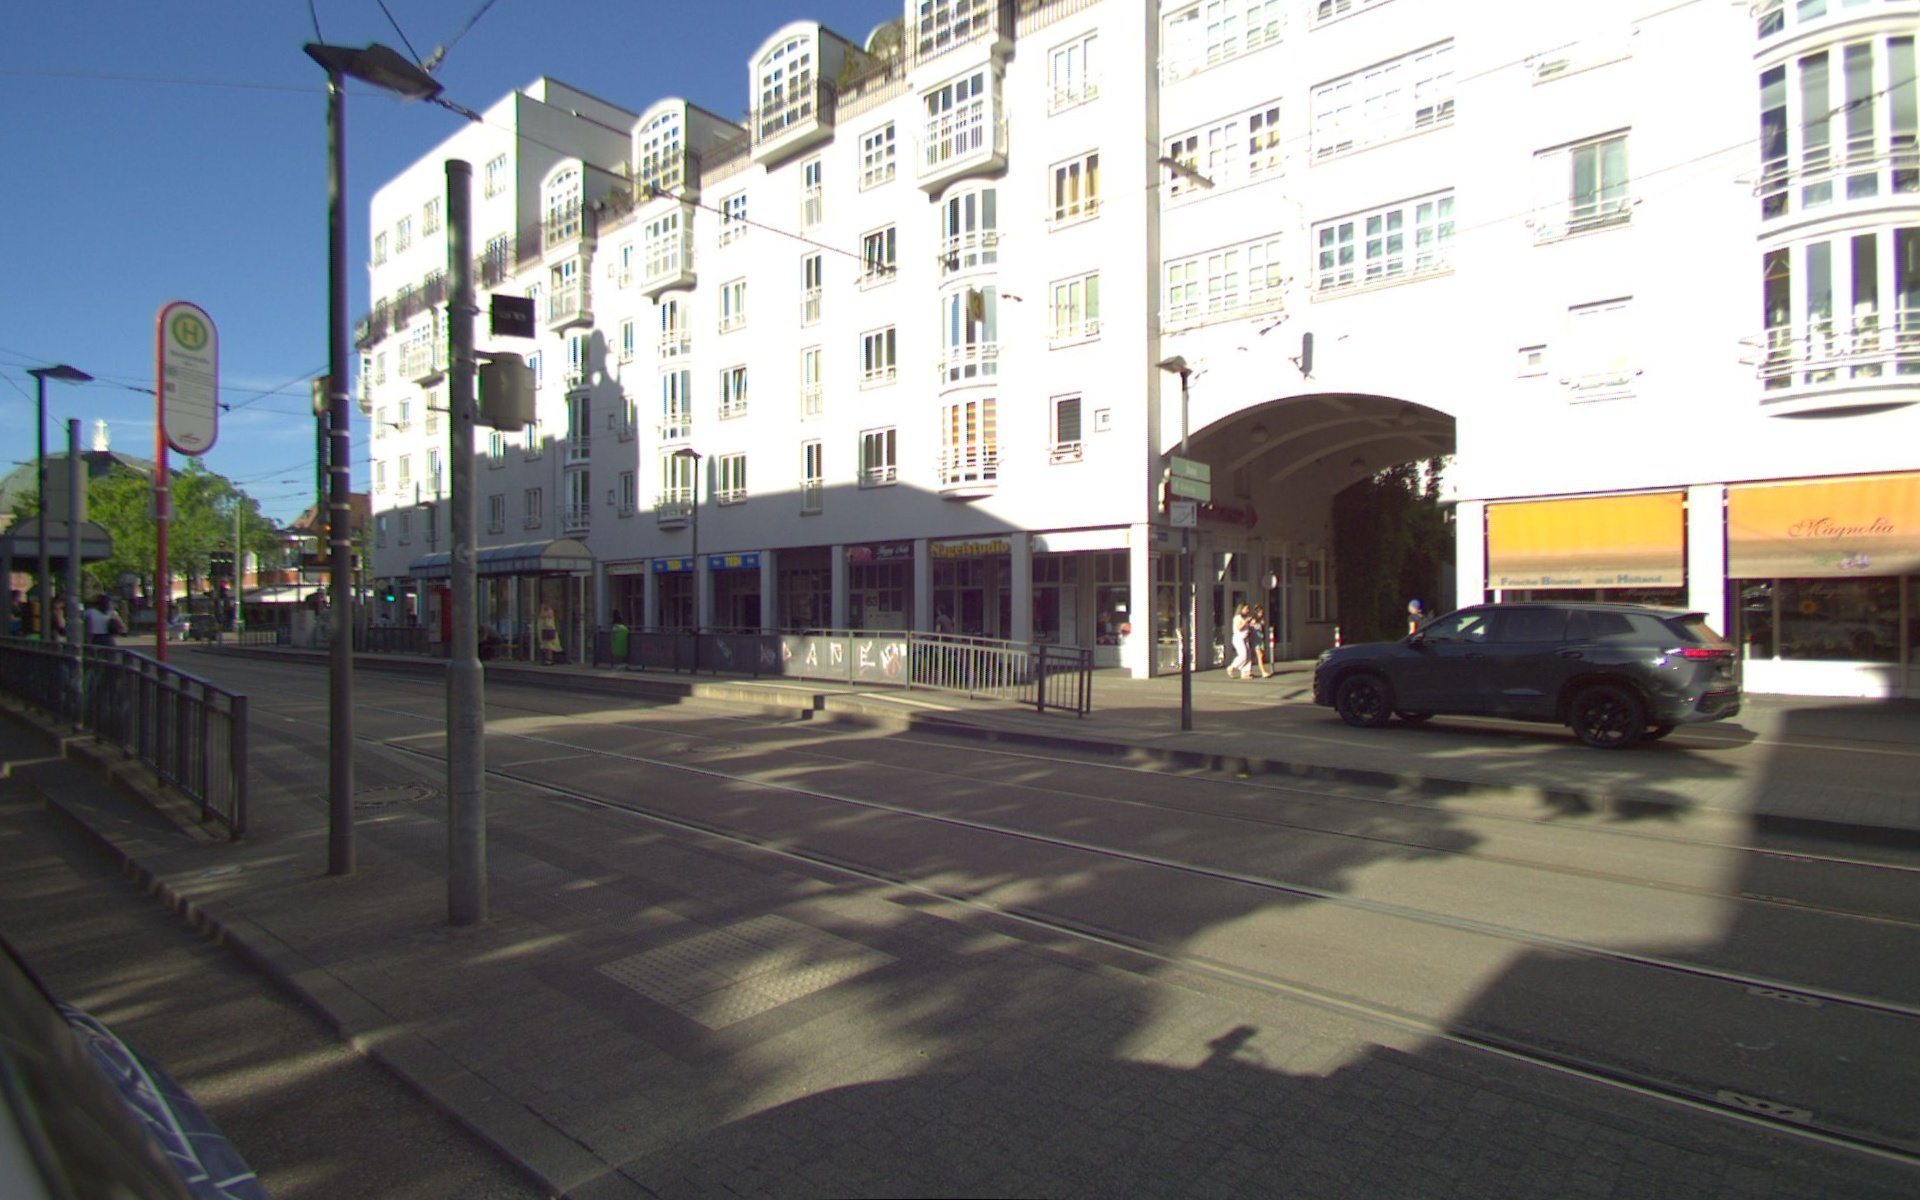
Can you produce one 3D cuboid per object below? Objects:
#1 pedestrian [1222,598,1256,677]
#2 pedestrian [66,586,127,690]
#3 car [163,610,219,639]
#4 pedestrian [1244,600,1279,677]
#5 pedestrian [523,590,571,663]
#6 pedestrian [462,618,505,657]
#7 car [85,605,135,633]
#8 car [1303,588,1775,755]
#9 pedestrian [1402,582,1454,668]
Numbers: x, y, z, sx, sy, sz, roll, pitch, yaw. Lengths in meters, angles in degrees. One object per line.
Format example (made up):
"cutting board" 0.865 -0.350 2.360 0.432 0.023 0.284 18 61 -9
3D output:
"pedestrian" 6.010 0.795 21.799 0.522 1.657 0.556 -1 -1 41
"pedestrian" -14.088 0.613 16.510 0.400 1.657 0.707 -1 -1 43
"car" -46.043 1.469 60.574 3.998 1.630 1.973 -1 -1 41
"pedestrian" 6.596 0.826 22.151 0.522 1.657 0.556 -1 -1 41
"pedestrian" -9.638 0.610 23.605 0.747 1.657 0.784 -1 -1 41
"pedestrian" -12.470 0.979 26.467 0.747 0.996 0.784 -1 -1 41
"car" -60.877 1.363 72.458 3.995 1.918 1.974 -1 -1 38
"car" 6.912 0.781 12.566 1.758 1.681 4.776 2 -2 -43
"pedestrian" 9.280 0.487 20.068 0.730 1.657 0.737 -1 -1 41
